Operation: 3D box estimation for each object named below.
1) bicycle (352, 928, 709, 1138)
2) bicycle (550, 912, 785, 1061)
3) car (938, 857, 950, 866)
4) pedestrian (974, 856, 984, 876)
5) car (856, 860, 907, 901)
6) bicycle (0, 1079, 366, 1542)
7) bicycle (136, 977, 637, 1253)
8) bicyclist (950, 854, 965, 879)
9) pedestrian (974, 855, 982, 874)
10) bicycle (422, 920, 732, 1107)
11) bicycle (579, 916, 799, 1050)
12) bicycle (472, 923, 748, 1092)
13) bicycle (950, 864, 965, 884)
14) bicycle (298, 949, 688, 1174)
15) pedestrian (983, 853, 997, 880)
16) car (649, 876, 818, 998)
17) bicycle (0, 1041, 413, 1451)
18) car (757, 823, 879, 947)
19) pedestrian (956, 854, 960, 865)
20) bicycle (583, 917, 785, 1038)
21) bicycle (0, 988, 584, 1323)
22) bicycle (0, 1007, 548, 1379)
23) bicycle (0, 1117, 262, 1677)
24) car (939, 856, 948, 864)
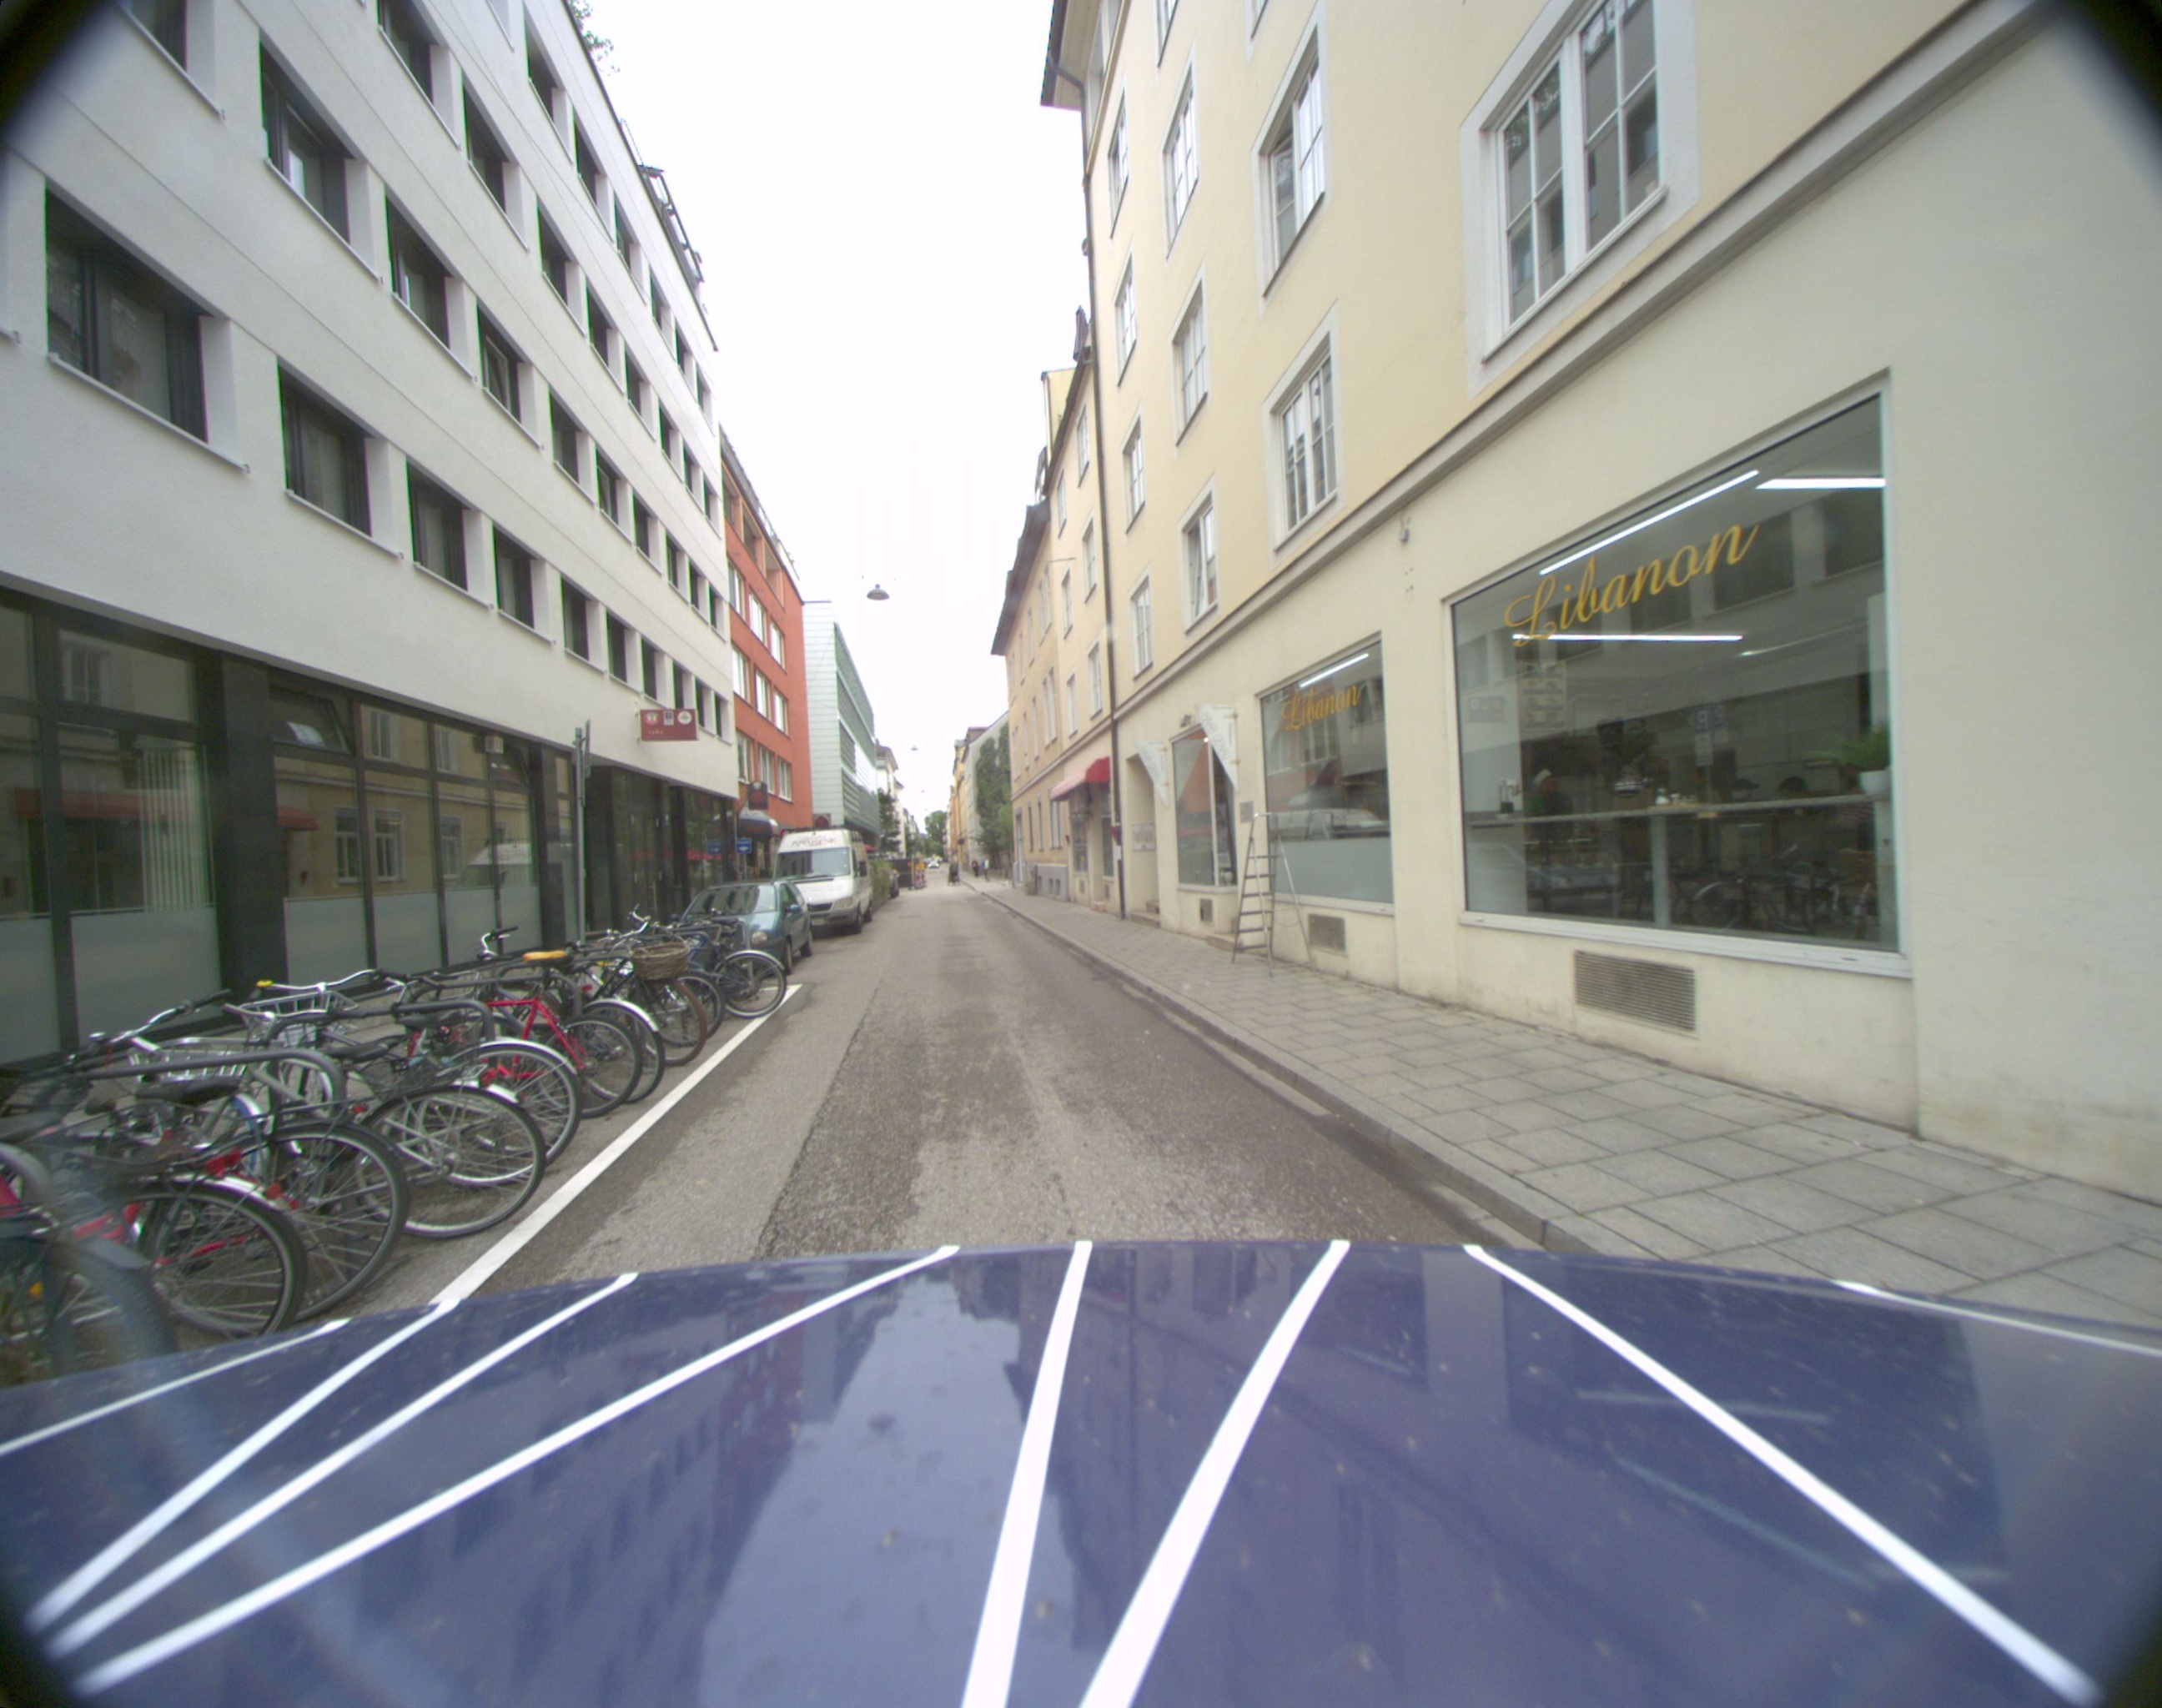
[{"bbox_3d":[-3.725,1.185,5.305,1.900,1.163,0.565,-3,1,-13],"label":"bicycle"},{"bbox_3d":[-3.929,1.241,7.342,1.880,1.197,0.488,-3,0,-12],"label":"bicycle"},{"bbox_3d":[-26.077,1.450,144.466,2.000,1.583,4.371,-3,1,-11],"label":"car"},{"bbox_3d":[-9.286,1.088,68.973,0.778,1.826,0.990,-3,1,-11],"label":"pedestrian"},{"bbox_3d":[-9.431,1.191,36.180,1.830,1.700,4.385,-4,1,-9],"label":"car"},{"bbox_3d":[-3.170,1.321,2.149,1.680,1.073,0.336,-3,0,-14],"label":"bicycle"},{"bbox_3d":[-3.552,1.314,4.072,1.880,1.046,0.563,-3,2,-14],"label":"bicycle"},{"bbox_3d":[-8.571,0.876,52.642,0.929,1.711,1.098,-2,0,-11],"label":"bicyclist"},{"bbox_3d":[-9.013,0.939,66.503,0.554,1.650,0.996,-3,1,-11],"label":"pedestrian"},{"bbox_3d":[-3.829,1.183,5.924,1.880,1.197,0.579,-2,1,-12],"label":"bicycle"},{"bbox_3d":[-3.993,1.295,7.859,1.880,1.101,0.488,-5,0,-12],"label":"bicycle"},{"bbox_3d":[-4.024,1.288,6.632,1.880,1.150,0.564,-5,0,-12],"label":"bicycle"},{"bbox_3d":[-8.590,1.385,52.913,0.935,1.250,2.411,-2,1,-10],"label":"bicycle"},{"bbox_3d":[-3.587,1.242,4.779,1.880,1.089,0.439,-3,0,-14],"label":"bicycle"},{"bbox_3d":[-6.488,0.863,54.013,0.861,1.834,0.973,-4,1,-9],"label":"pedestrian"},{"bbox_3d":[-5.264,1.156,11.970,1.586,1.455,3.548,-3,0,-12],"label":"car"},{"bbox_3d":[-3.310,1.286,2.515,1.618,1.073,0.377,-3,0,-14],"label":"bicycle"},{"bbox_3d":[-6.346,0.675,19.066,1.927,2.491,5.991,-4,0,-11],"label":"car"},{"bbox_3d":[-20.804,0.991,128.521,0.493,1.814,0.552,-3,1,-11],"label":"pedestrian"},{"bbox_3d":[-4.455,1.368,8.638,1.880,1.073,0.488,-5,0,-12],"label":"bicycle"},{"bbox_3d":[-3.390,1.254,3.393,1.880,1.073,0.402,-3,0,-14],"label":"bicycle"},{"bbox_3d":[-3.274,1.261,2.968,1.880,1.073,0.408,-3,0,-14],"label":"bicycle"},{"bbox_3d":[-3.150,1.325,1.732,1.746,1.073,0.452,-3,0,-14],"label":"bicycle"},{"bbox_3d":[-34.270,1.520,189.899,2.000,2.002,4.132,-4,1,-12],"label":"car"}]
